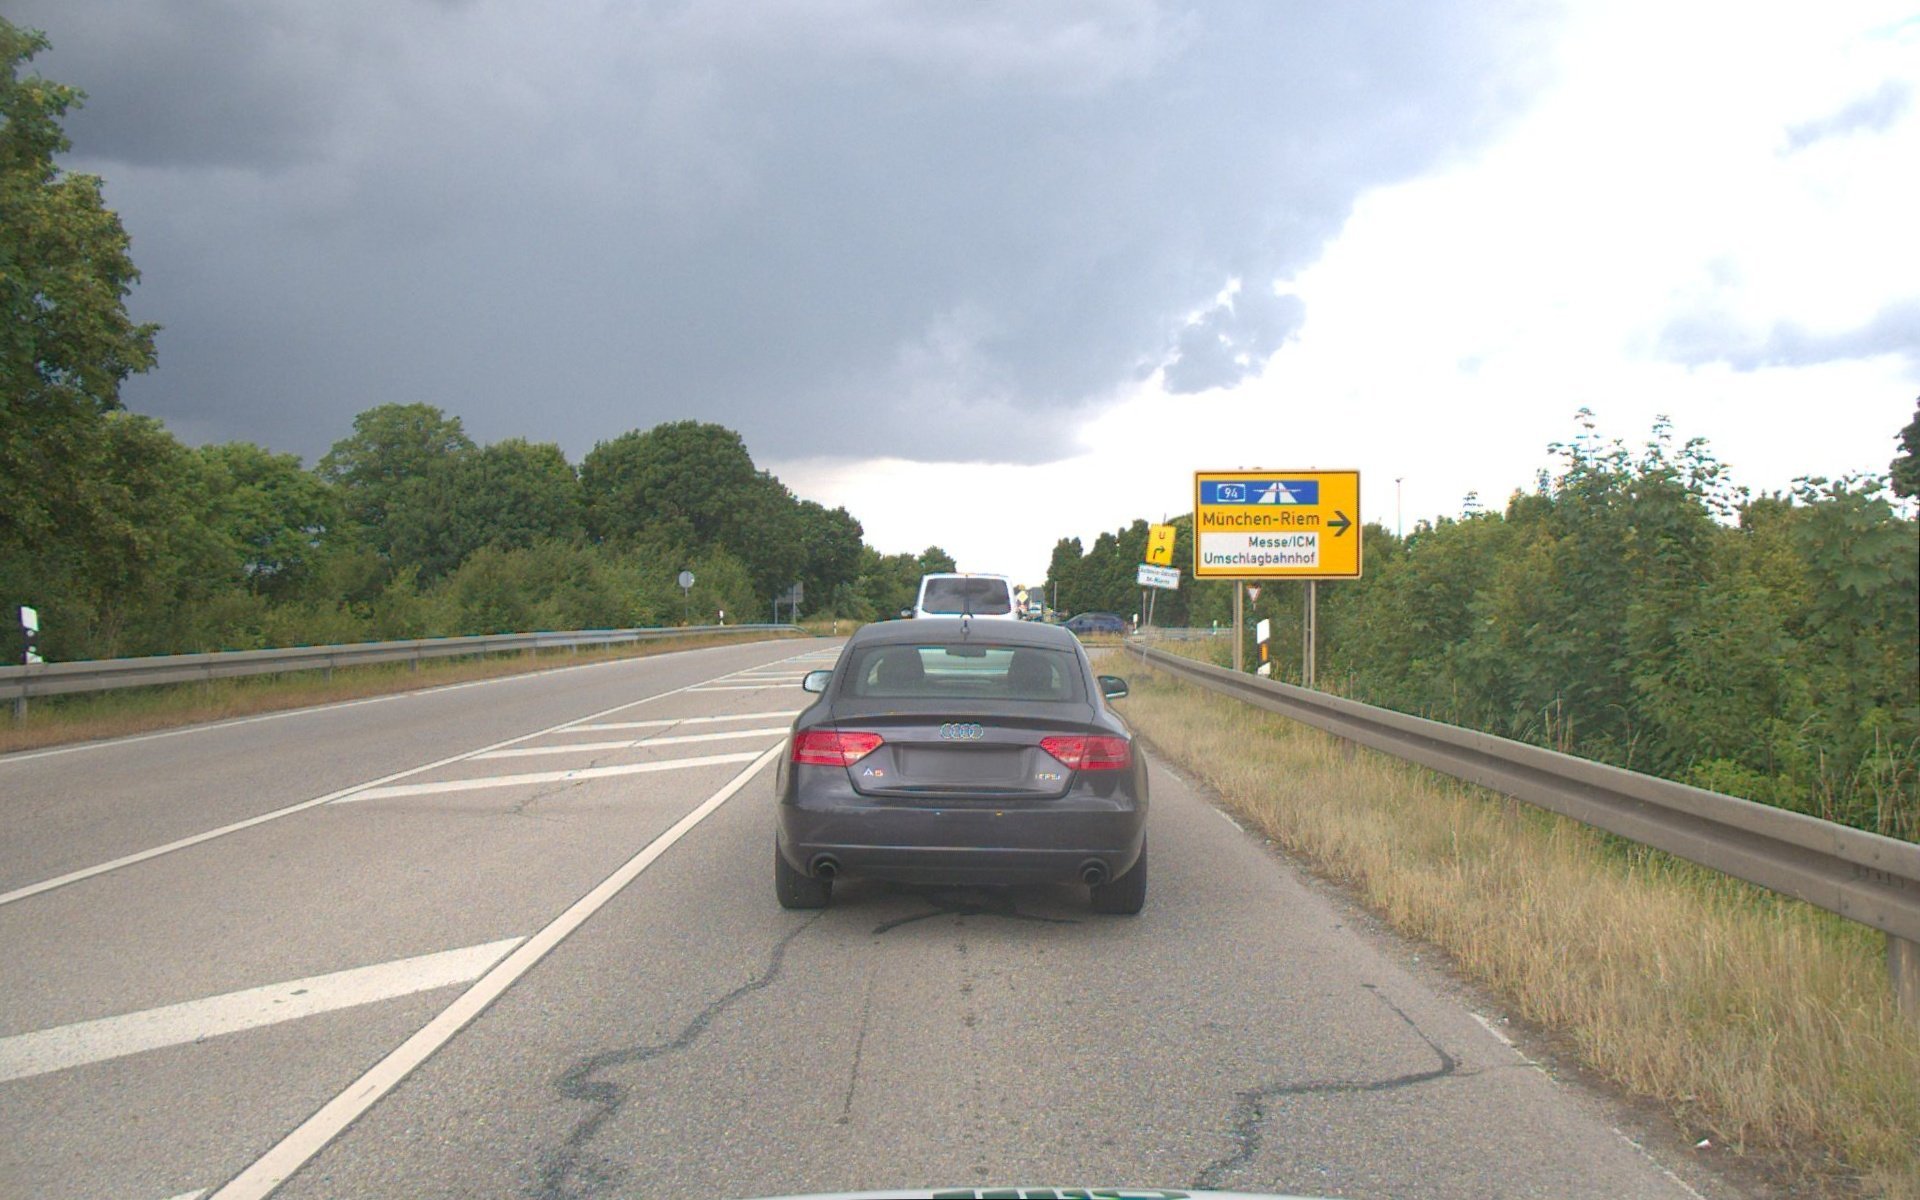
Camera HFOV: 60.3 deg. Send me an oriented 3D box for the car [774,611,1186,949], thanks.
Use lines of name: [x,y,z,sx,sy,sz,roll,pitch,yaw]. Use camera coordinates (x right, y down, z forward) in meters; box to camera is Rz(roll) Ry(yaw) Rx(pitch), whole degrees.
car: [0.066,0.780,8.715,1.743,1.423,3.336,1,0,-1]

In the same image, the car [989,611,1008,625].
car: [4.601,2.167,197.192,2.161,1.610,4.378,1,0,-1]

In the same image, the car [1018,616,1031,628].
car: [10.009,3.391,255.109,1.952,1.722,4.001,1,0,2]

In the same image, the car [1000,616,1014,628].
car: [6.139,2.889,216.378,1.699,1.479,3.999,1,0,-1]

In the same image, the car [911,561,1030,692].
car: [0.152,0.424,28.385,1.871,2.049,3.999,1,0,-1]
